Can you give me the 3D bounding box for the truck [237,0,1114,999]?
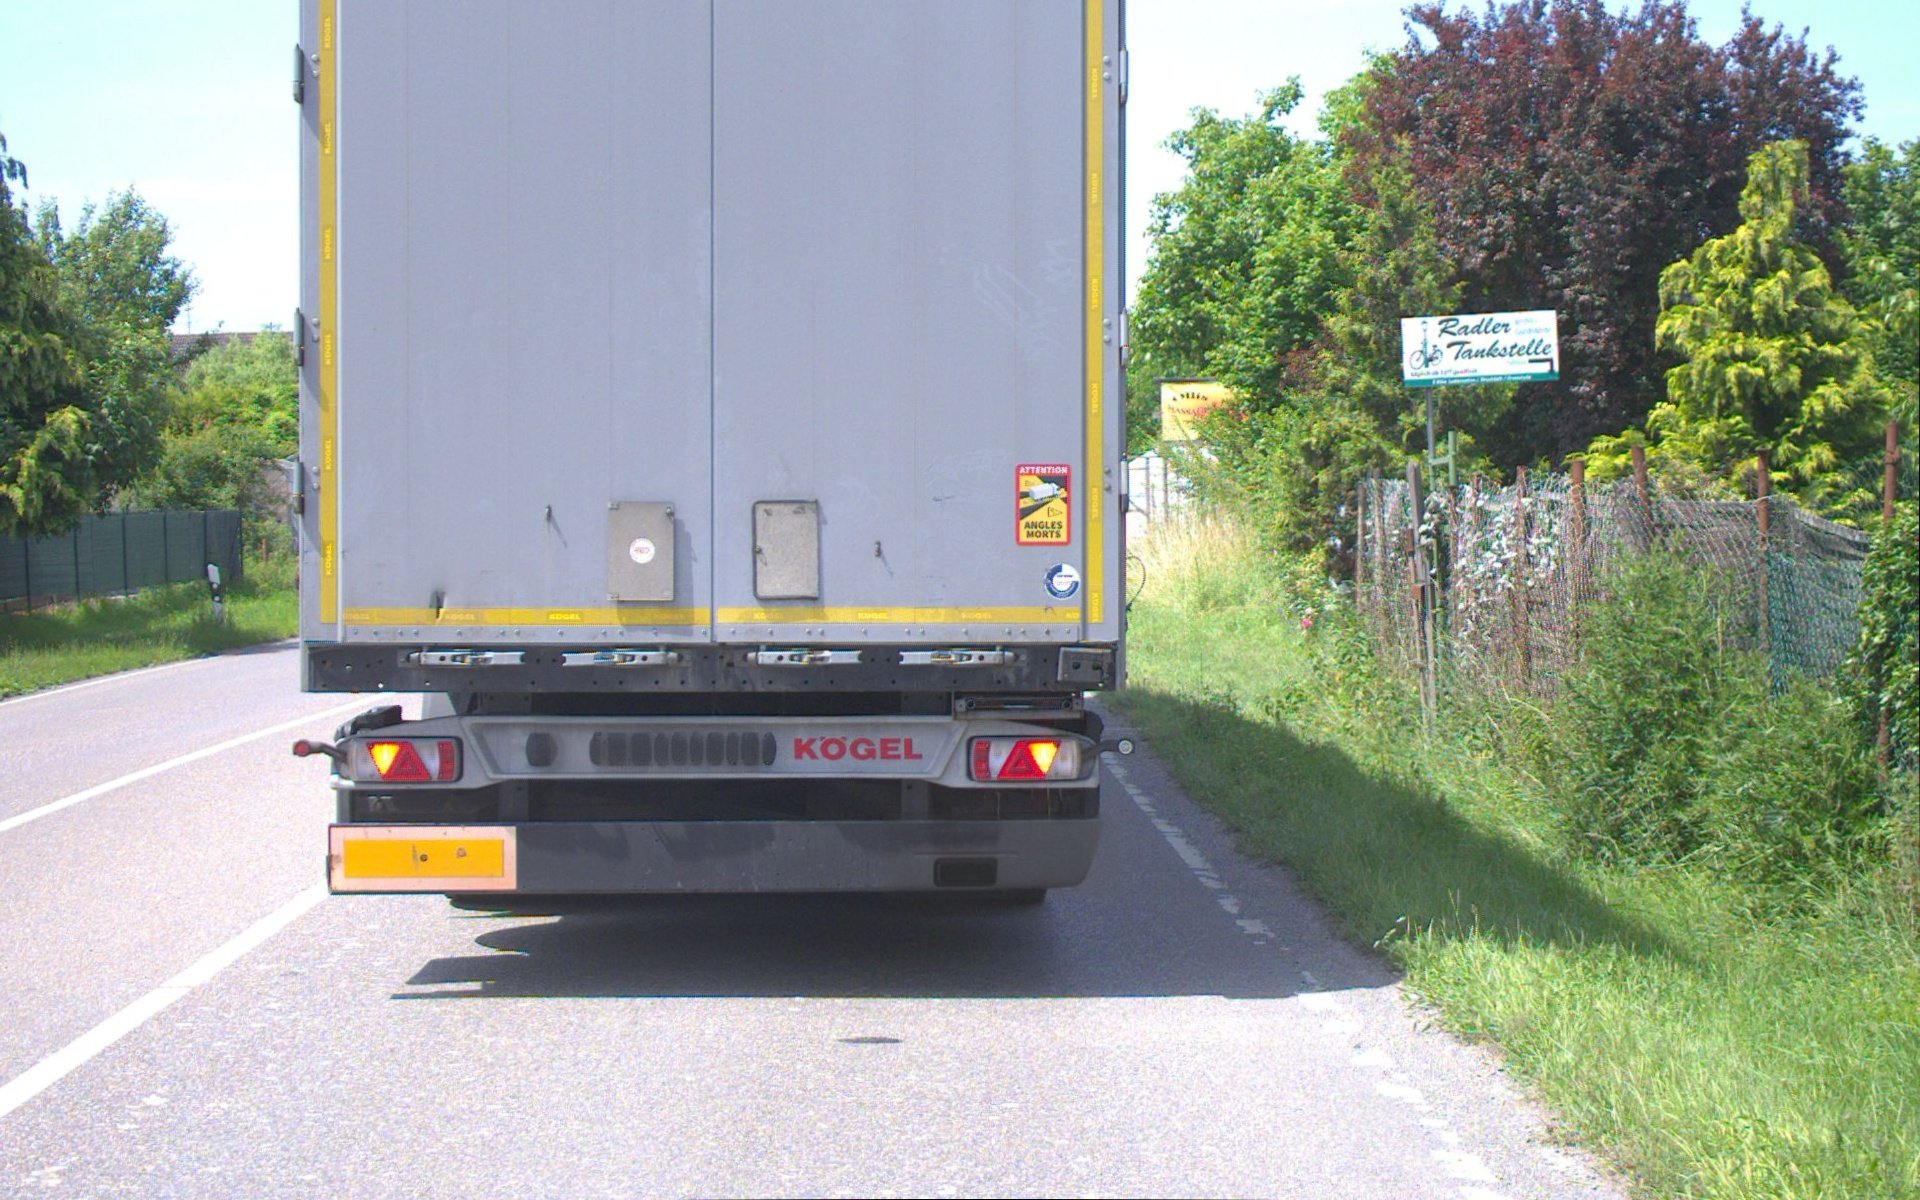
[{"bbox_3d":[-1.063,-0.854,14.838,2.647,3.903,8.826,0,1,-3],"label":"truck"}]
